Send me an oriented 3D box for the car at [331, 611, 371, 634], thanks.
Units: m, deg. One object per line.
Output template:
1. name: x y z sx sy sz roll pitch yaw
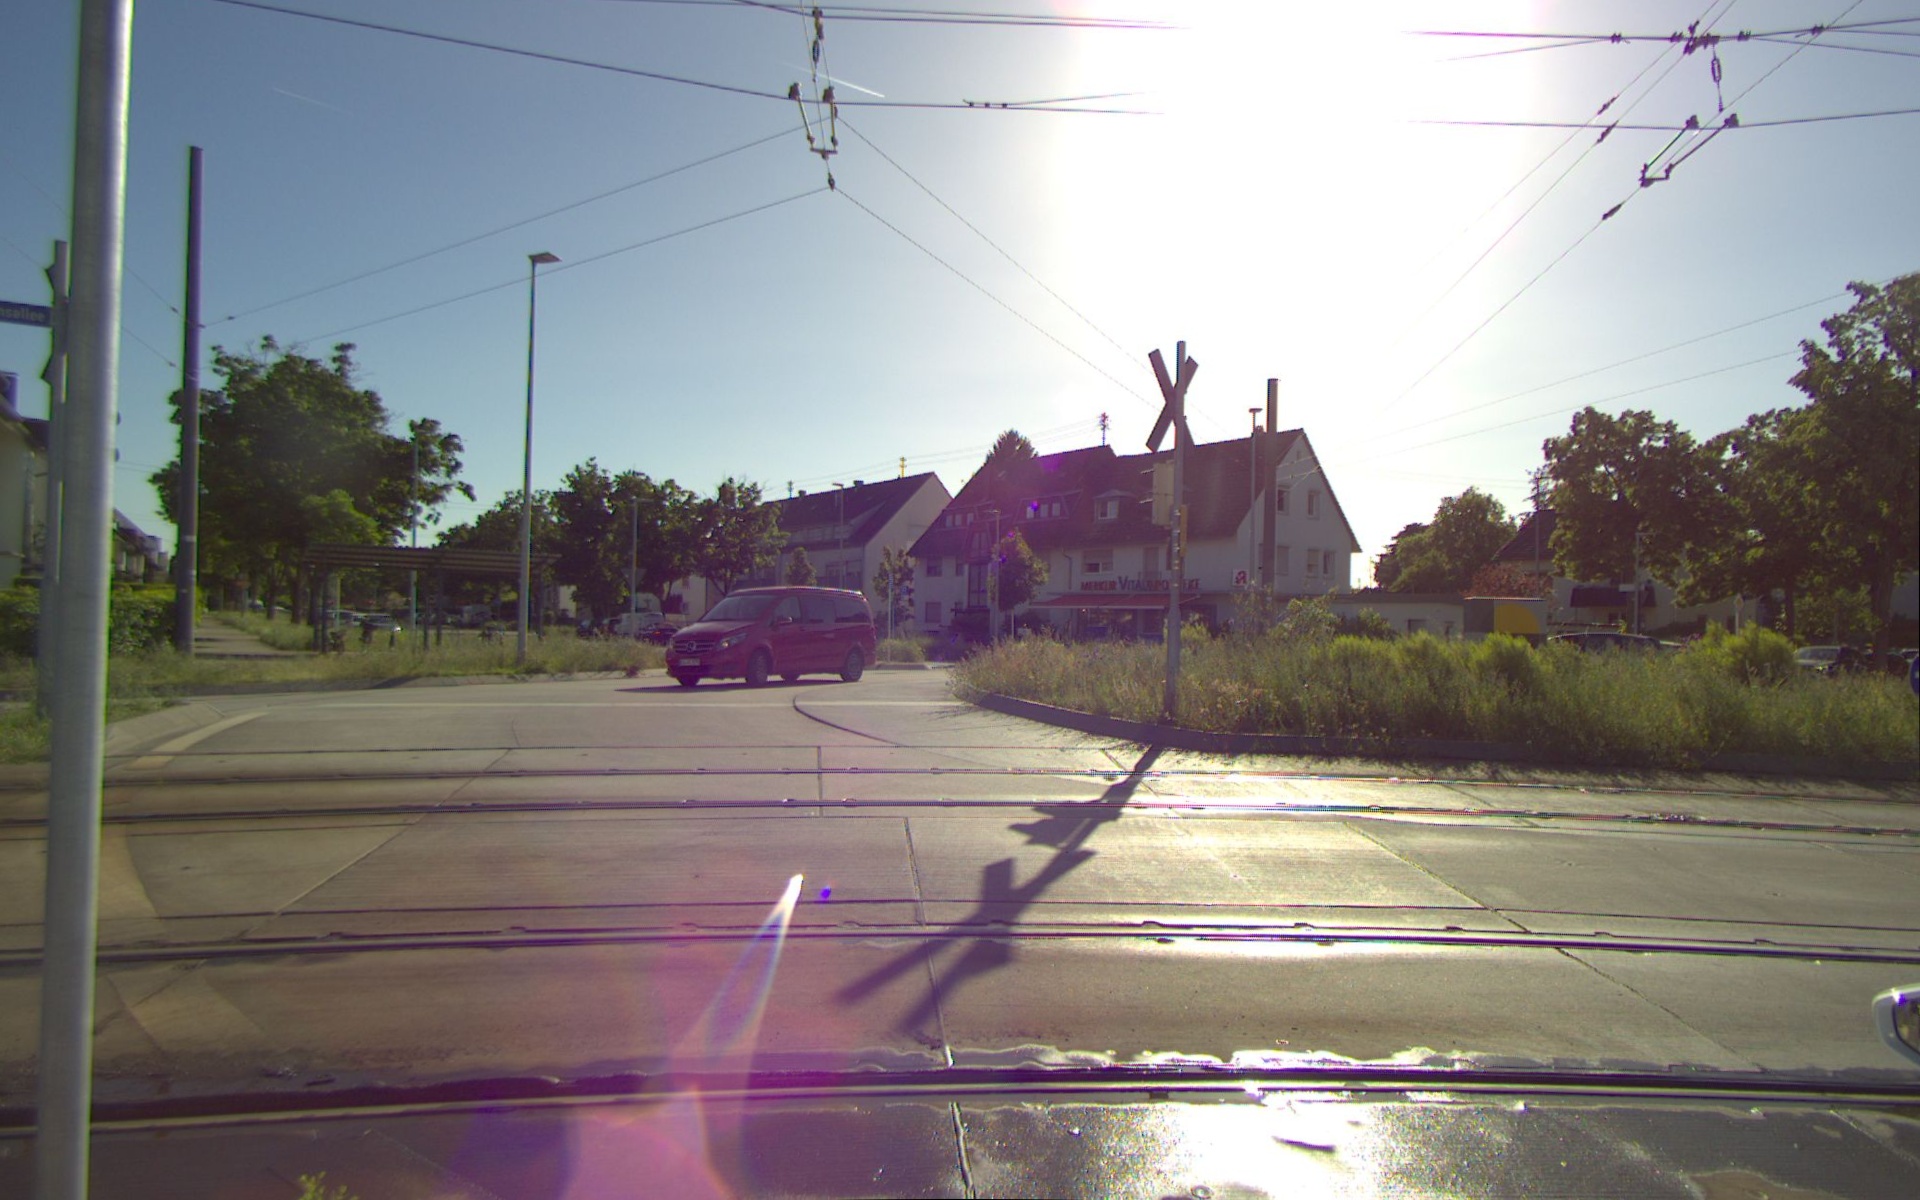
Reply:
1. car: -38.669 1.440 63.732 1.810 1.411 3.829 2 -2 -36

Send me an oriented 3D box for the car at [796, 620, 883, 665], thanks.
1. car: -5.487 1.892 45.341 1.982 1.721 4.323 2 0 -37

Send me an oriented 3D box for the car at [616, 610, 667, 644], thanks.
1. car: -21.642 1.816 68.097 1.880 2.041 4.323 2 0 -38

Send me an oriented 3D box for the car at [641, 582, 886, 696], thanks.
1. car: -3.781 0.714 20.426 1.964 2.008 5.229 1 -1 29

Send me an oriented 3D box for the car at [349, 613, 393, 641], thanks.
1. car: -34.330 1.531 58.516 1.810 1.411 3.828 2 0 -36

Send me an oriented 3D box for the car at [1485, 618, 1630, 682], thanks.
1. car: 15.525 1.267 26.331 1.659 1.510 3.916 1 -1 4

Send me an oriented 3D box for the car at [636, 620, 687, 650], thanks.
1. car: -18.632 2.175 62.553 1.904 1.637 4.244 2 0 -33

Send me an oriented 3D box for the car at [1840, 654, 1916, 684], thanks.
1. car: 46.080 3.456 50.410 3.960 1.341 1.949 3 0 -35

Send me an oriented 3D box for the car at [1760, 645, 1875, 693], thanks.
1. car: 31.986 2.563 37.460 4.387 1.601 1.822 3 0 -29

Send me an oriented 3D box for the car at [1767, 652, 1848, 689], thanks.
1. car: 35.620 2.933 42.174 3.960 1.383 1.584 3 0 -35

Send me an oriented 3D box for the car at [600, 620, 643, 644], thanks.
1. car: -23.785 2.230 70.485 1.532 1.613 4.032 2 -1 -38

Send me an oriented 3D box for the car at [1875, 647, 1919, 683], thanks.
1. car: 50.204 3.437 52.782 4.170 1.722 1.983 3 0 -31

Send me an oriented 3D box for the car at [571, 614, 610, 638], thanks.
1. car: -27.948 1.948 75.839 1.538 1.698 4.174 2 -2 -38

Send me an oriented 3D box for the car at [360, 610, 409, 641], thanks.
1. car: -30.525 1.344 53.224 1.810 1.411 3.750 2 0 -36
